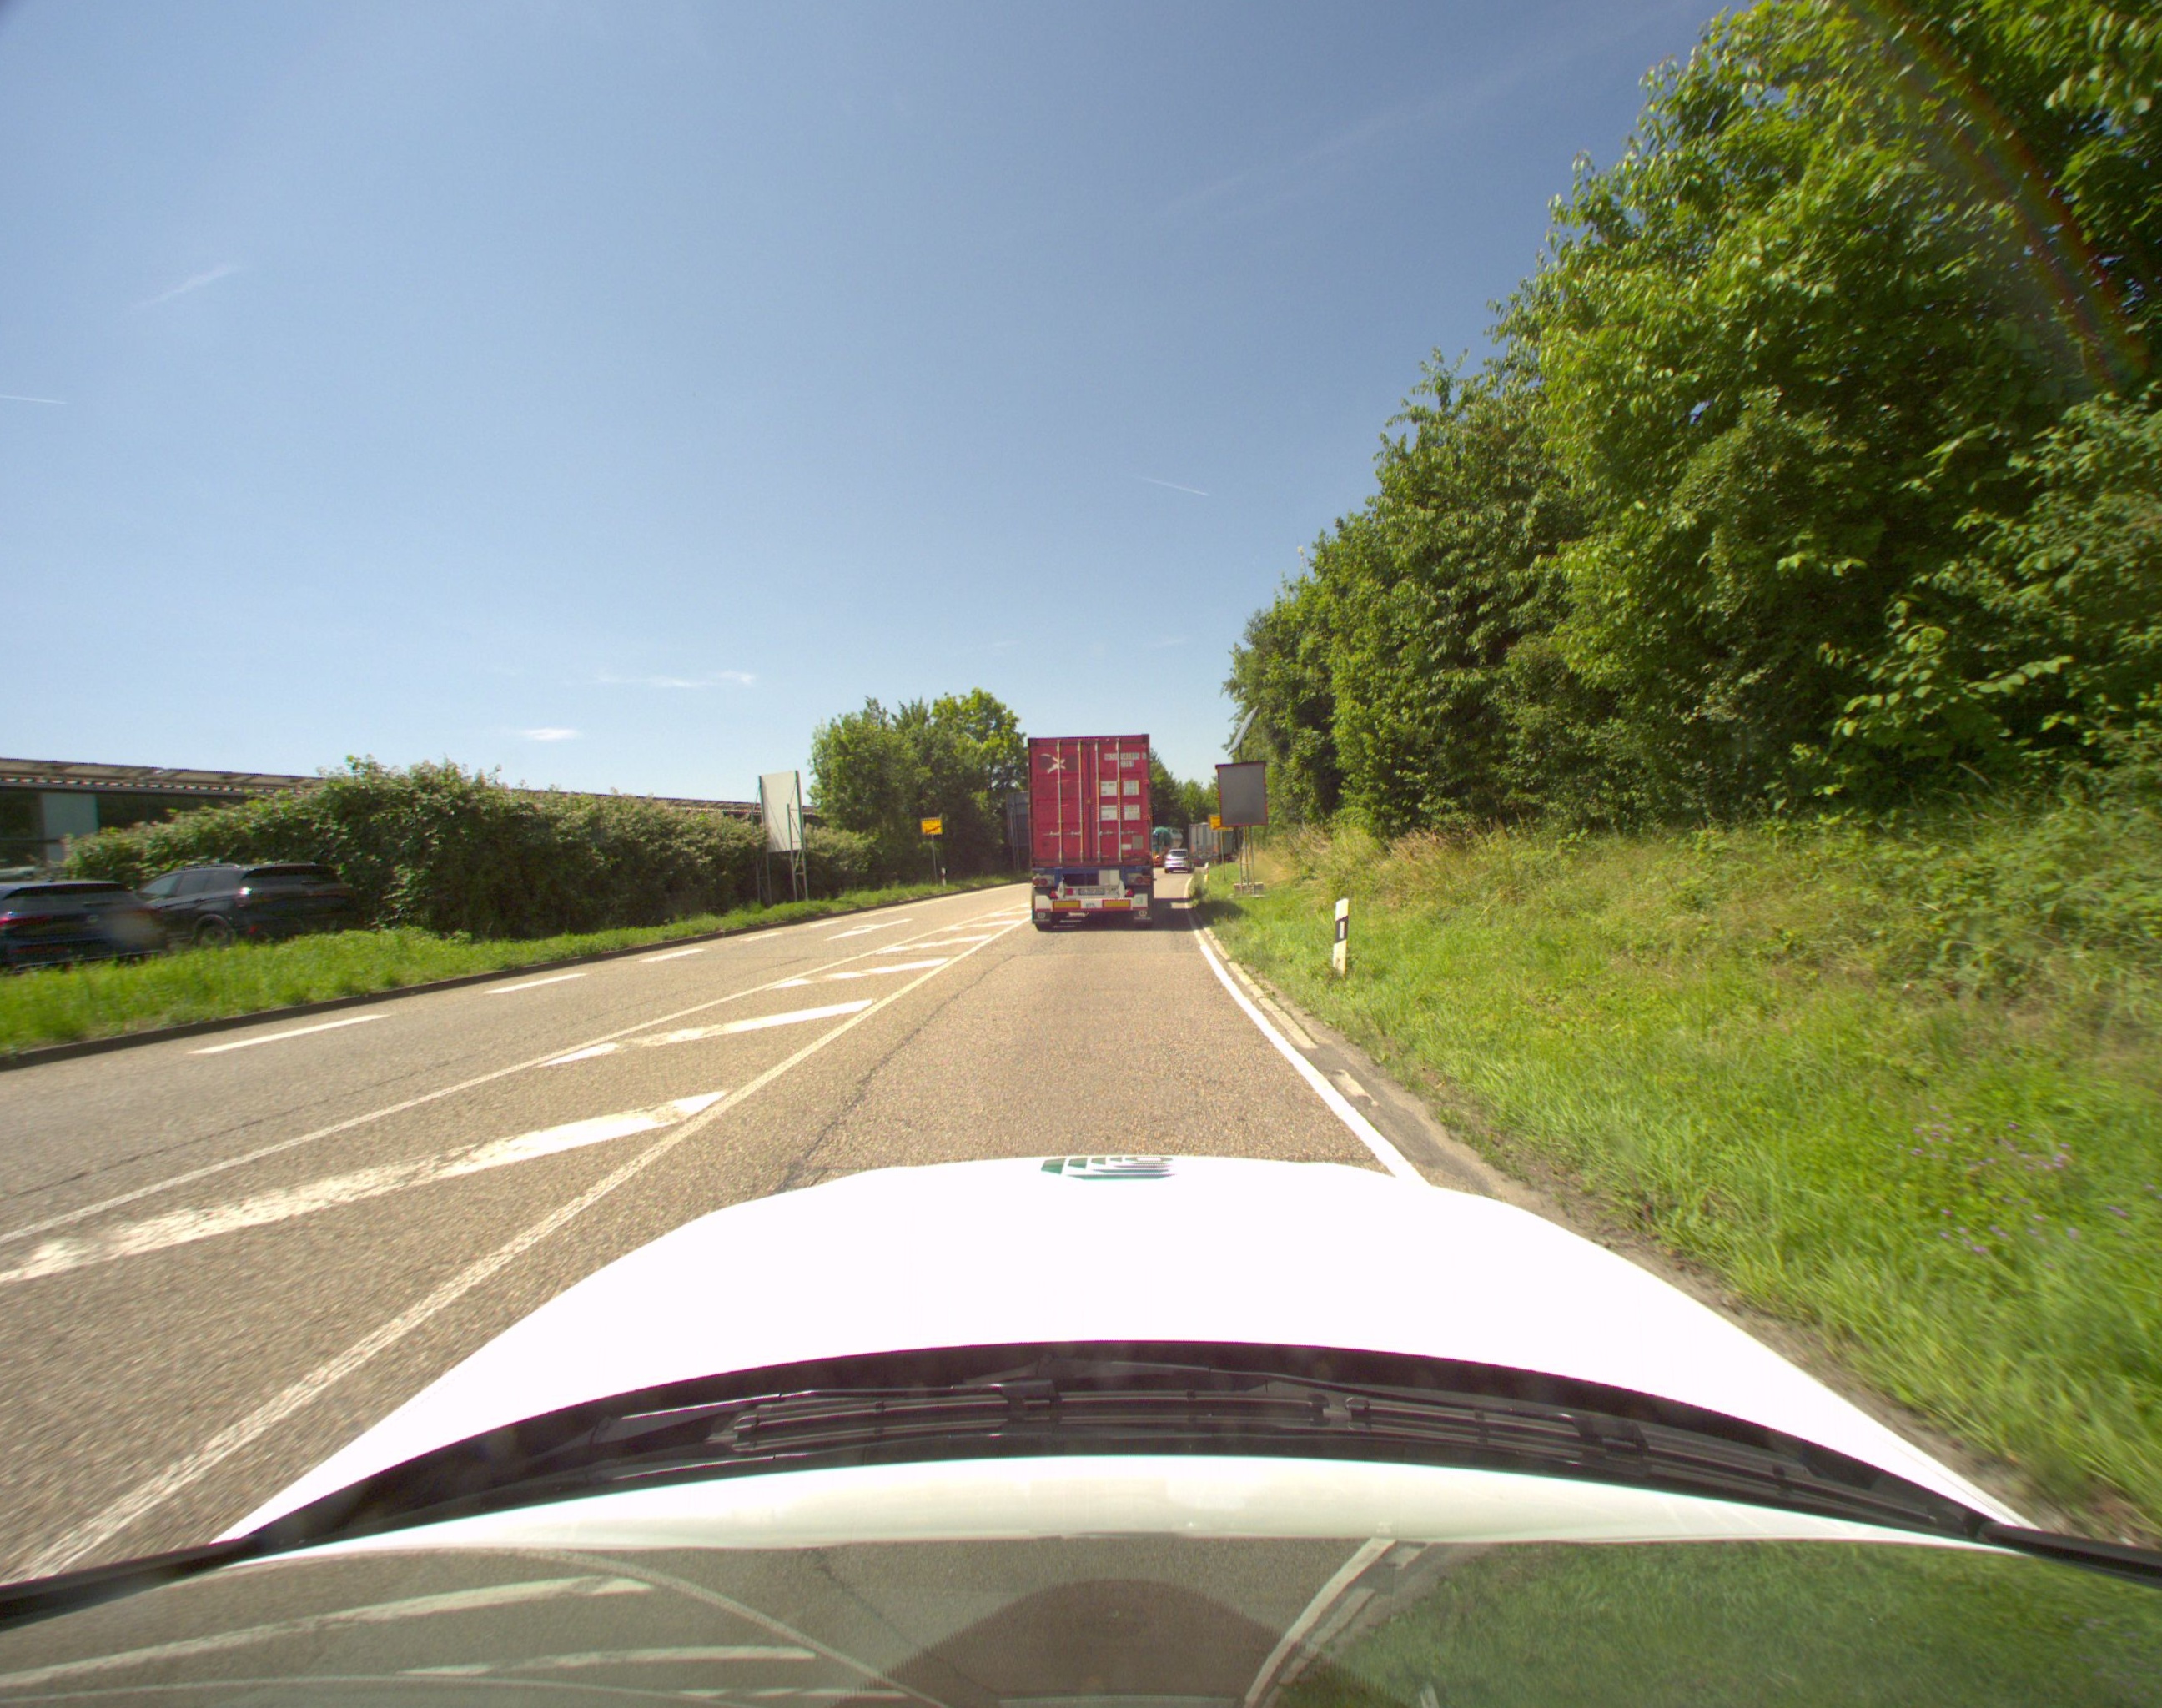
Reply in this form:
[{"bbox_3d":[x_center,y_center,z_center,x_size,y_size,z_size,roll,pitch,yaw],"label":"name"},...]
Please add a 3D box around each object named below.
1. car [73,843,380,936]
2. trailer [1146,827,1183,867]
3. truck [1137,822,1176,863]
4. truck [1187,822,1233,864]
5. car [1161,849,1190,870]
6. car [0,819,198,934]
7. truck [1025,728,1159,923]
[{"bbox_3d":[-13.835,0.521,13.274,3.671,1.373,1.810,0,0,13],"label":"car"},{"bbox_3d":[8.597,-0.708,82.912,2.559,3.819,8.947,-1,0,13],"label":"trailer"},{"bbox_3d":[7.264,-1.018,77.262,2.561,3.680,7.904,-1,0,13],"label":"truck"},{"bbox_3d":[12.664,-1.011,78.784,2.900,3.717,13.414,-1,0,15],"label":"truck"},{"bbox_3d":[6.696,0.369,57.242,1.822,1.433,4.010,-2,0,9],"label":"car"},{"bbox_3d":[-14.609,0.386,10.906,3.963,1.362,1.825,-4,0,9],"label":"car"},{"bbox_3d":[0.820,-0.524,22.663,2.635,3.806,13.378,0,0,5],"label":"truck"}]
